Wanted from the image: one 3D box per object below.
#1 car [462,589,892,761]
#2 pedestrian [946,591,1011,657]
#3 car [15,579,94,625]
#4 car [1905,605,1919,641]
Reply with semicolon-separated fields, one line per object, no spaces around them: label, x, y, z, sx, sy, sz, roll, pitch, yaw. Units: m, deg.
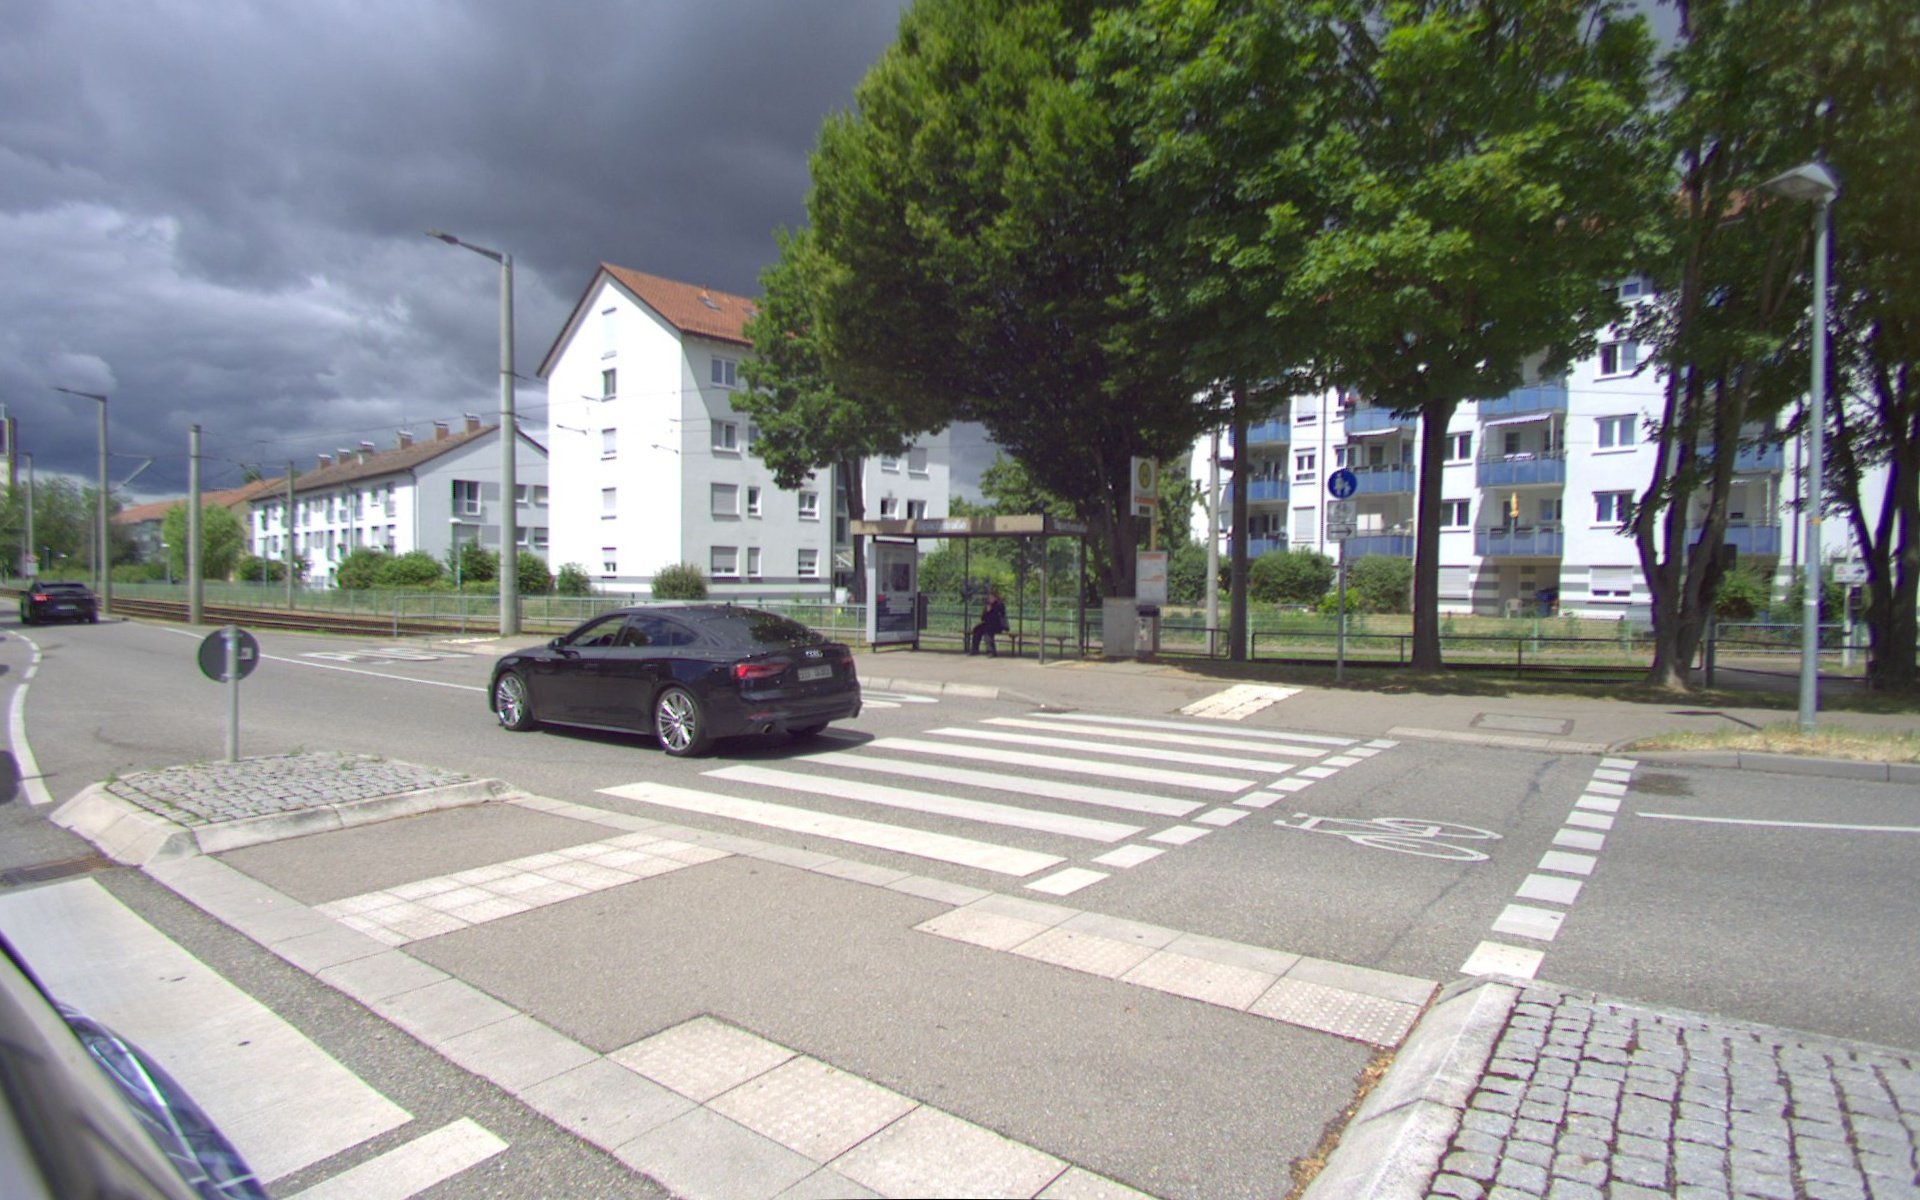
car;-3.075;0.616;10.564;4.607;1.394;1.802;1;1;35
pedestrian;0.340;0.423;18.451;0.910;1.143;0.790;1;2;39
car;-32.773;0.108;36.602;1.970;1.537;4.528;0;-1;-44
car;49.849;1.192;50.286;1.968;1.822;4.008;1;0;-39
